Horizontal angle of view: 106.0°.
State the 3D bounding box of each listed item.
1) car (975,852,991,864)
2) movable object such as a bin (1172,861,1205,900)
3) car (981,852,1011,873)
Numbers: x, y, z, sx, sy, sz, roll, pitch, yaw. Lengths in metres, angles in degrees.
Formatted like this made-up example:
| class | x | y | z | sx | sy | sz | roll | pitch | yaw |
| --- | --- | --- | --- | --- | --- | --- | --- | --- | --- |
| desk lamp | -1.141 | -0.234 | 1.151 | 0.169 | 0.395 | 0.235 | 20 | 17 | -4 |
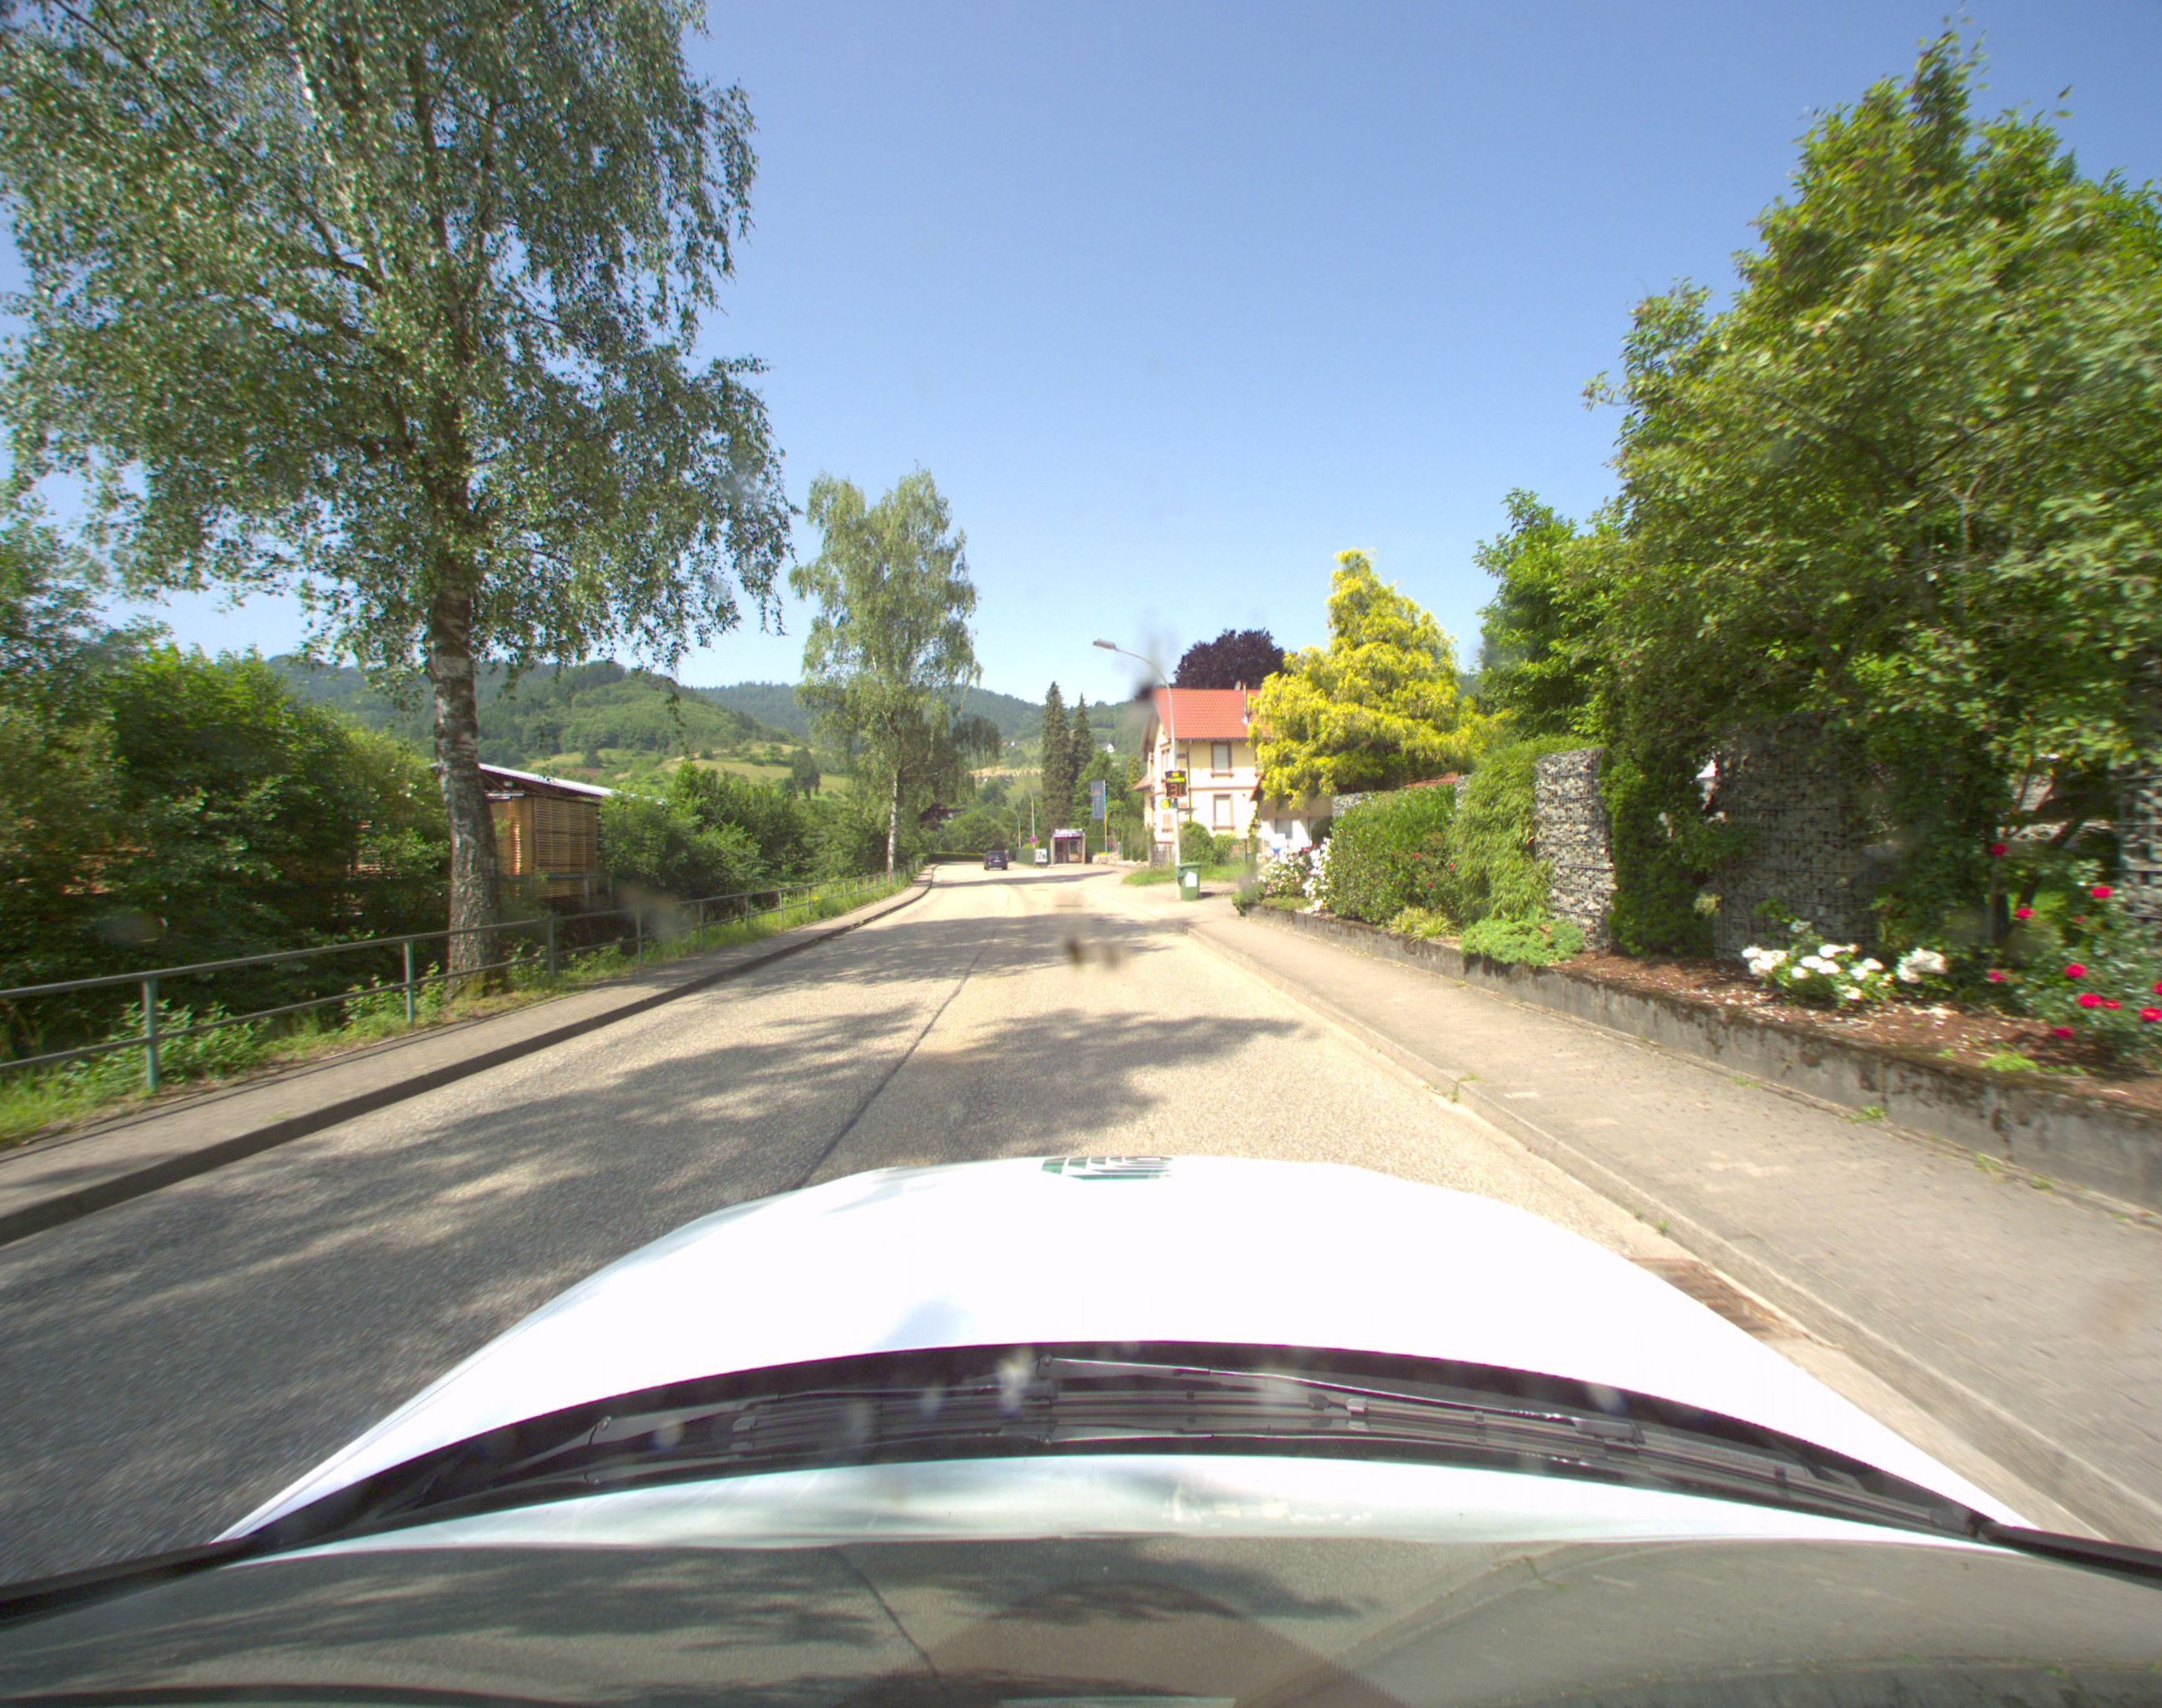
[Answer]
| class | x | y | z | sx | sy | sz | roll | pitch | yaw |
| --- | --- | --- | --- | --- | --- | --- | --- | --- | --- |
| car | -11.993 | 0.463 | 99.888 | 1.625 | 1.422 | 3.394 | -1 | 0 | -4 |
| movable object such as a bin | 3.078 | 0.757 | 23.340 | 0.807 | 1.042 | 0.578 | -2 | 0 | -5 |
| car | -7.259 | 0.729 | 69.386 | 1.923 | 1.698 | 3.768 | -2 | 0 | -15 |
